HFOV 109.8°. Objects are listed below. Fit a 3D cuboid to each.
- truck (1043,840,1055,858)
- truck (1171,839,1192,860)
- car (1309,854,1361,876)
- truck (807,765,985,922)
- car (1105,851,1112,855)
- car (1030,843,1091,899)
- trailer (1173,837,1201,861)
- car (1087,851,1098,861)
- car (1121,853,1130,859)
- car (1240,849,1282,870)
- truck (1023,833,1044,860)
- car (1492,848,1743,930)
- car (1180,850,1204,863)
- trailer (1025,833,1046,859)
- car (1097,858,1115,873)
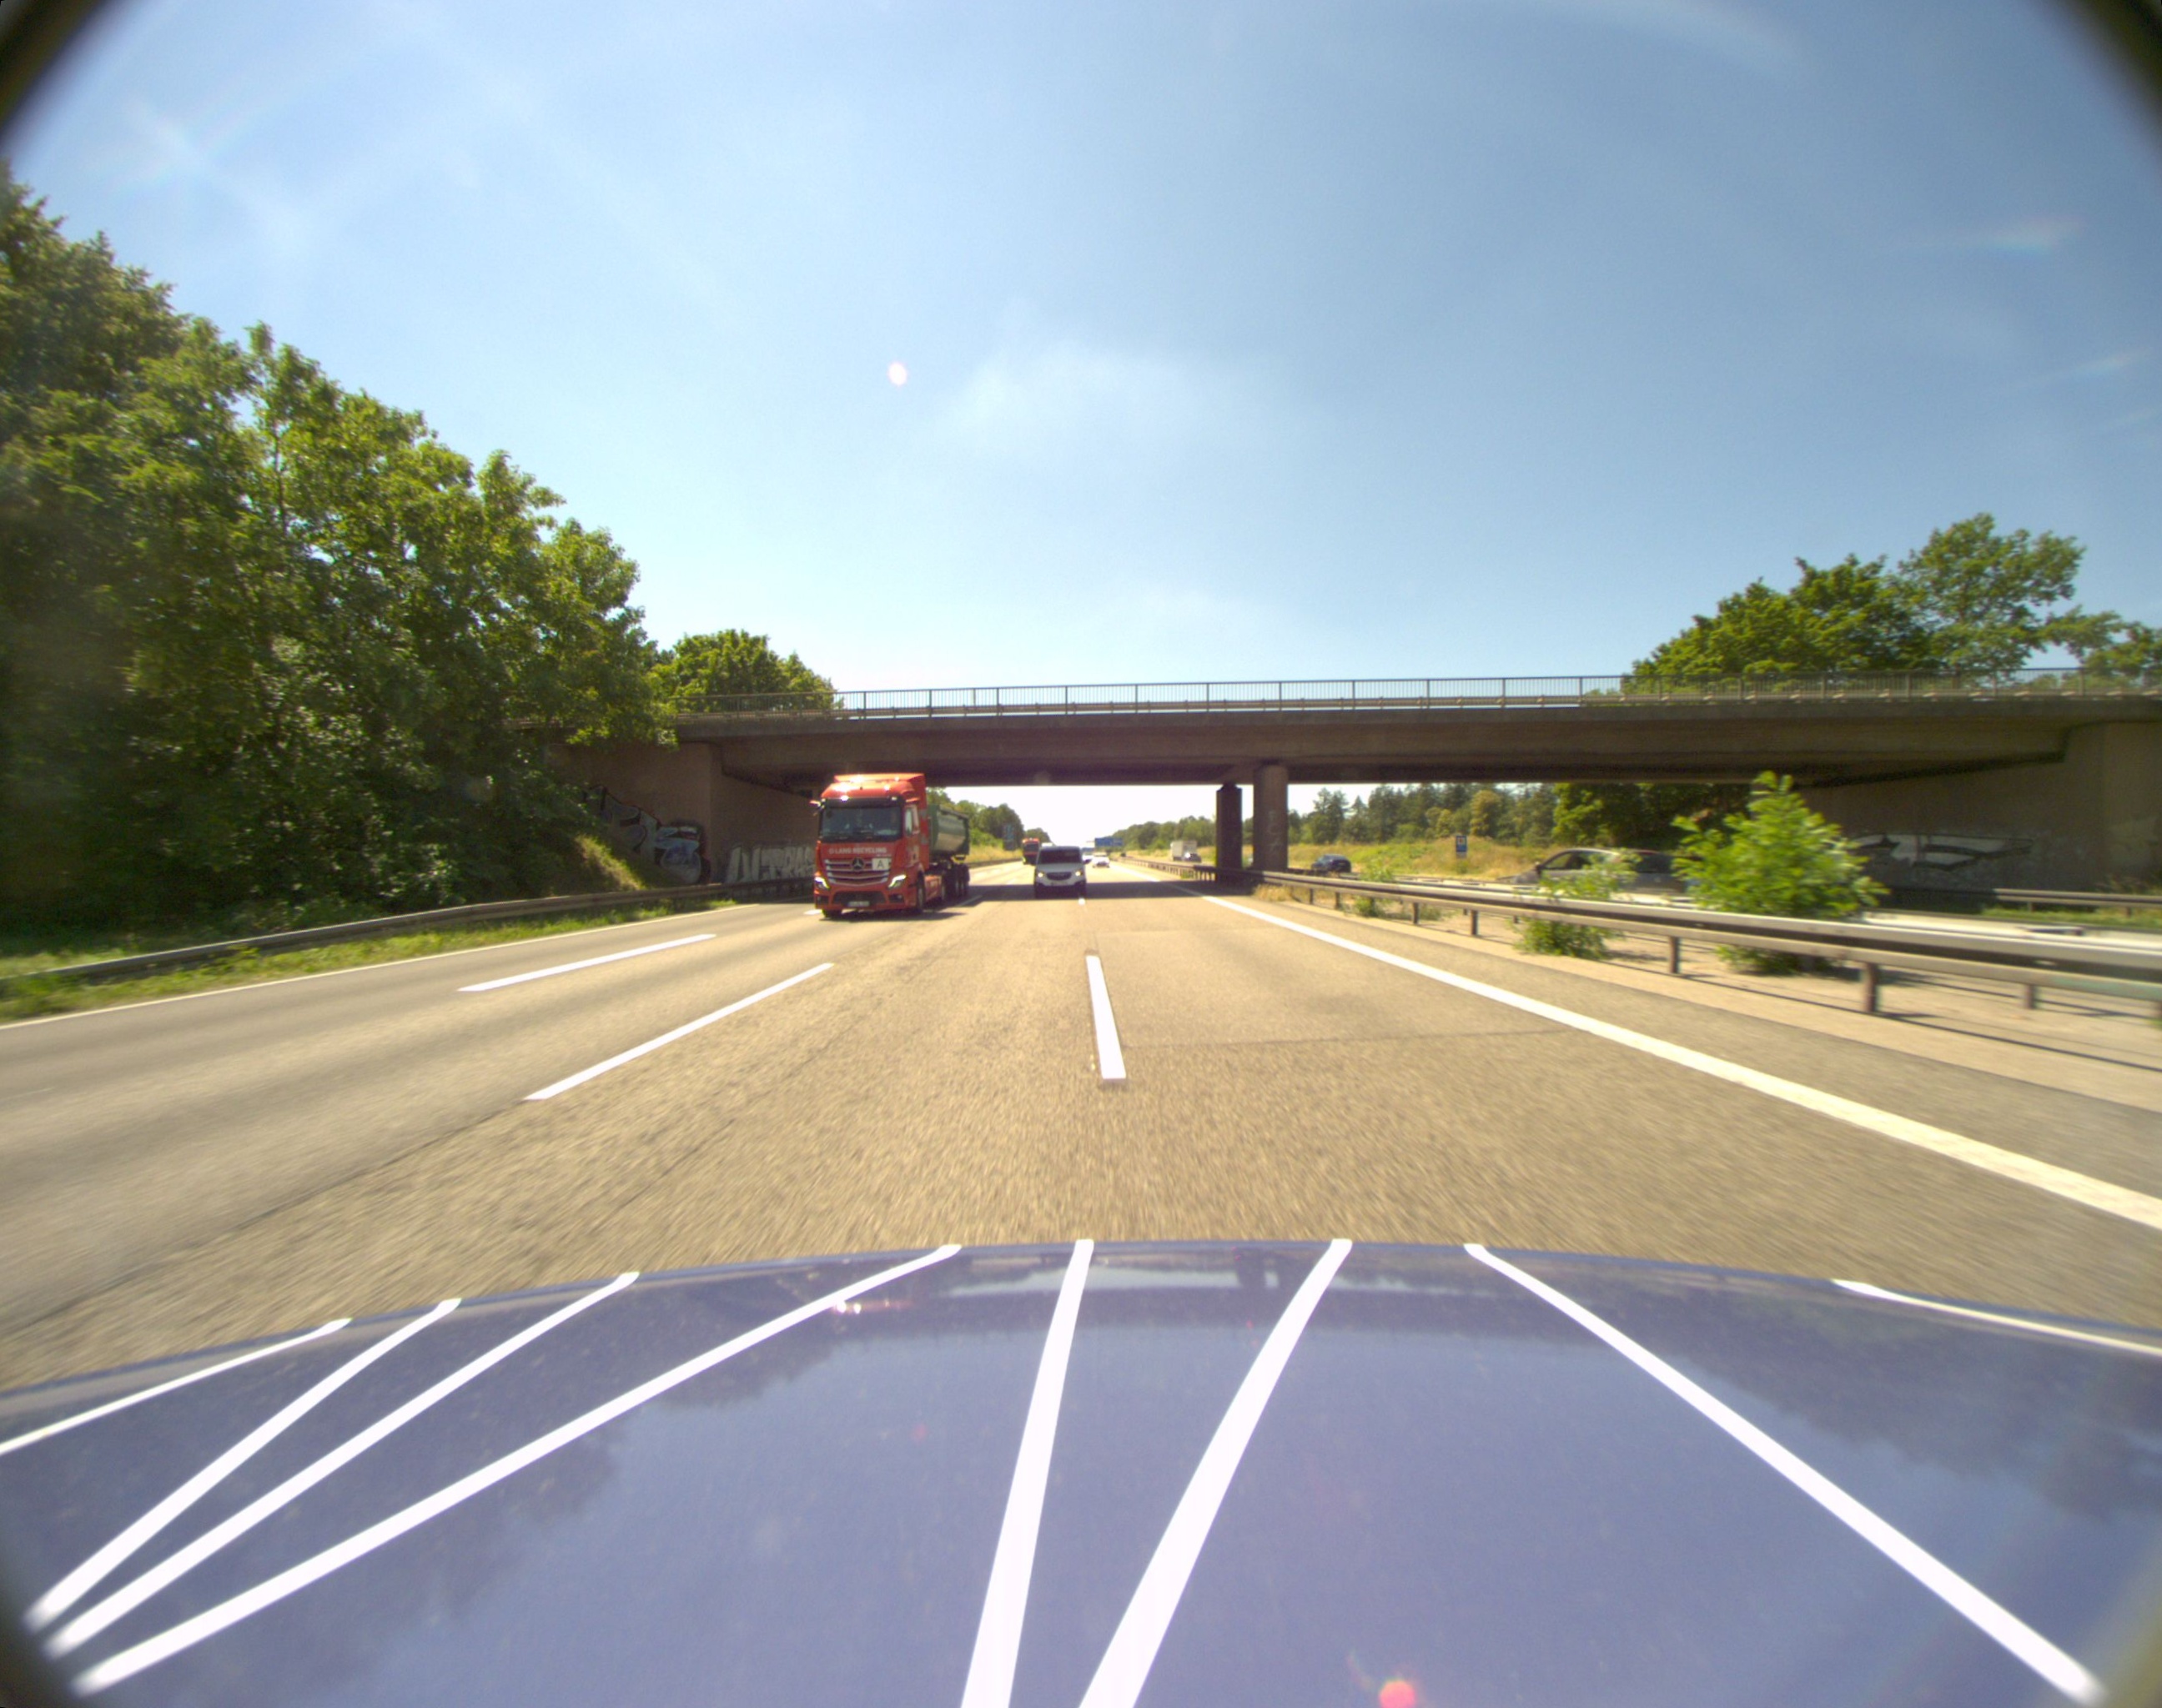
[{"bbox_3d":[-7.504,-1.153,179.696,2.604,3.979,6.173,-2,0,-1],"label":"truck"},{"bbox_3d":[19.257,-0.901,146.336,2.957,3.937,6.952,2,0,-1],"label":"truck"},{"bbox_3d":[19.464,0.804,58.483,2.233,1.601,5.059,1,0,-1],"label":"car"},{"bbox_3d":[-5.327,-0.263,24.870,2.688,3.776,12.477,-2,0,0],"label":"truck"},{"bbox_3d":[9.195,-0.301,256.360,2.233,1.415,5.298,1,0,-1],"label":"car"},{"bbox_3d":[-0.648,0.574,27.823,1.870,1.807,4.941,-2,0,2],"label":"car"},{"bbox_3d":[19.337,-0.922,139.451,2.957,4.084,14.101,2,0,-1],"label":"trailer"},{"bbox_3d":[1.699,0.349,115.089,1.582,1.411,3.353,-2,-2,-1],"label":"car"},{"bbox_3d":[13.808,0.691,236.202,2.233,1.801,5.298,1,0,-1],"label":"car"},{"bbox_3d":[14.998,0.454,63.726,2.233,1.601,5.059,1,0,-1],"label":"car"},{"bbox_3d":[-6.900,-1.116,111.231,2.535,3.712,6.098,-2,0,0],"label":"truck"},{"bbox_3d":[12.180,0.698,17.839,2.233,1.601,5.059,1,0,-1],"label":"car"},{"bbox_3d":[14.488,0.266,99.403,2.233,1.601,5.059,1,0,-1],"label":"car"},{"bbox_3d":[-6.922,-1.123,117.059,2.535,3.712,11.547,-2,0,0],"label":"trailer"},{"bbox_3d":[2.414,1.092,74.658,1.582,1.411,3.352,-2,0,-1],"label":"car"}]
